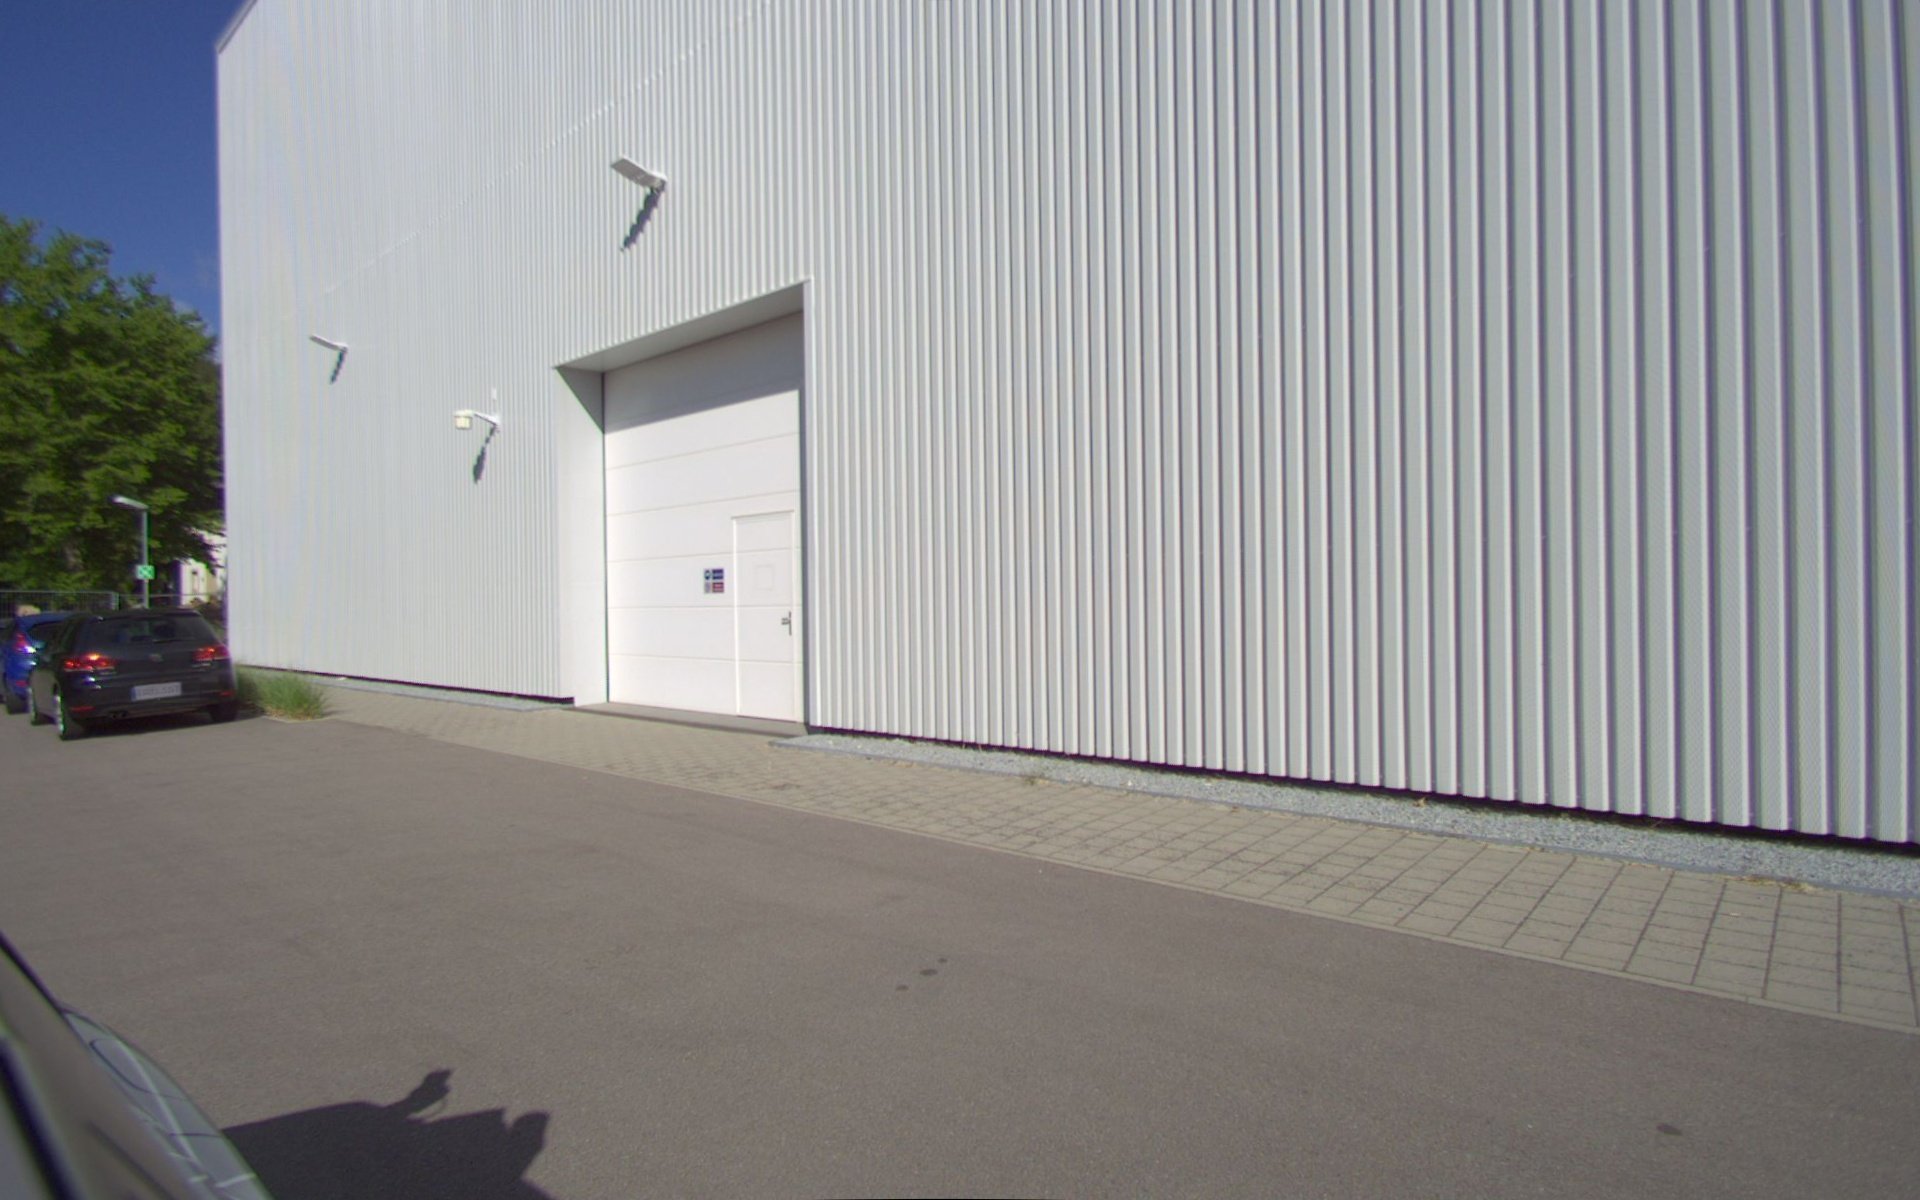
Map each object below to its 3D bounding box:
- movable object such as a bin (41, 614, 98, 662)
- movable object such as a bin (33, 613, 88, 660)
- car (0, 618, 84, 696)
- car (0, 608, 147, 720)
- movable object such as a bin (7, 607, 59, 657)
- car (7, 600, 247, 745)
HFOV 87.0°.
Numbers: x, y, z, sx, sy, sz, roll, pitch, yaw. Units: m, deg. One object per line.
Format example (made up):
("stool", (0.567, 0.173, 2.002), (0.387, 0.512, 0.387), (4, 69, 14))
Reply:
("movable object such as a bin", (-28.444, 1.195, 32.320), (1.228, 1.443, 1.080), (0, 2, 36))
("movable object such as a bin", (-29.470, 1.179, 33.172), (1.228, 1.450, 1.080), (0, 2, 36))
("car", (-18.737, 1.080, 19.863), (4.051, 1.371, 1.756), (-1, 0, 41))
("car", (-14.629, 0.943, 16.292), (4.092, 1.511, 1.614), (-1, 2, 40))
("movable object such as a bin", (-31.200, 1.064, 34.069), (1.228, 1.609, 1.080), (1, 1, 36))
("car", (-10.898, 0.822, 13.127), (4.292, 1.511, 1.736), (-1, 1, 42))
